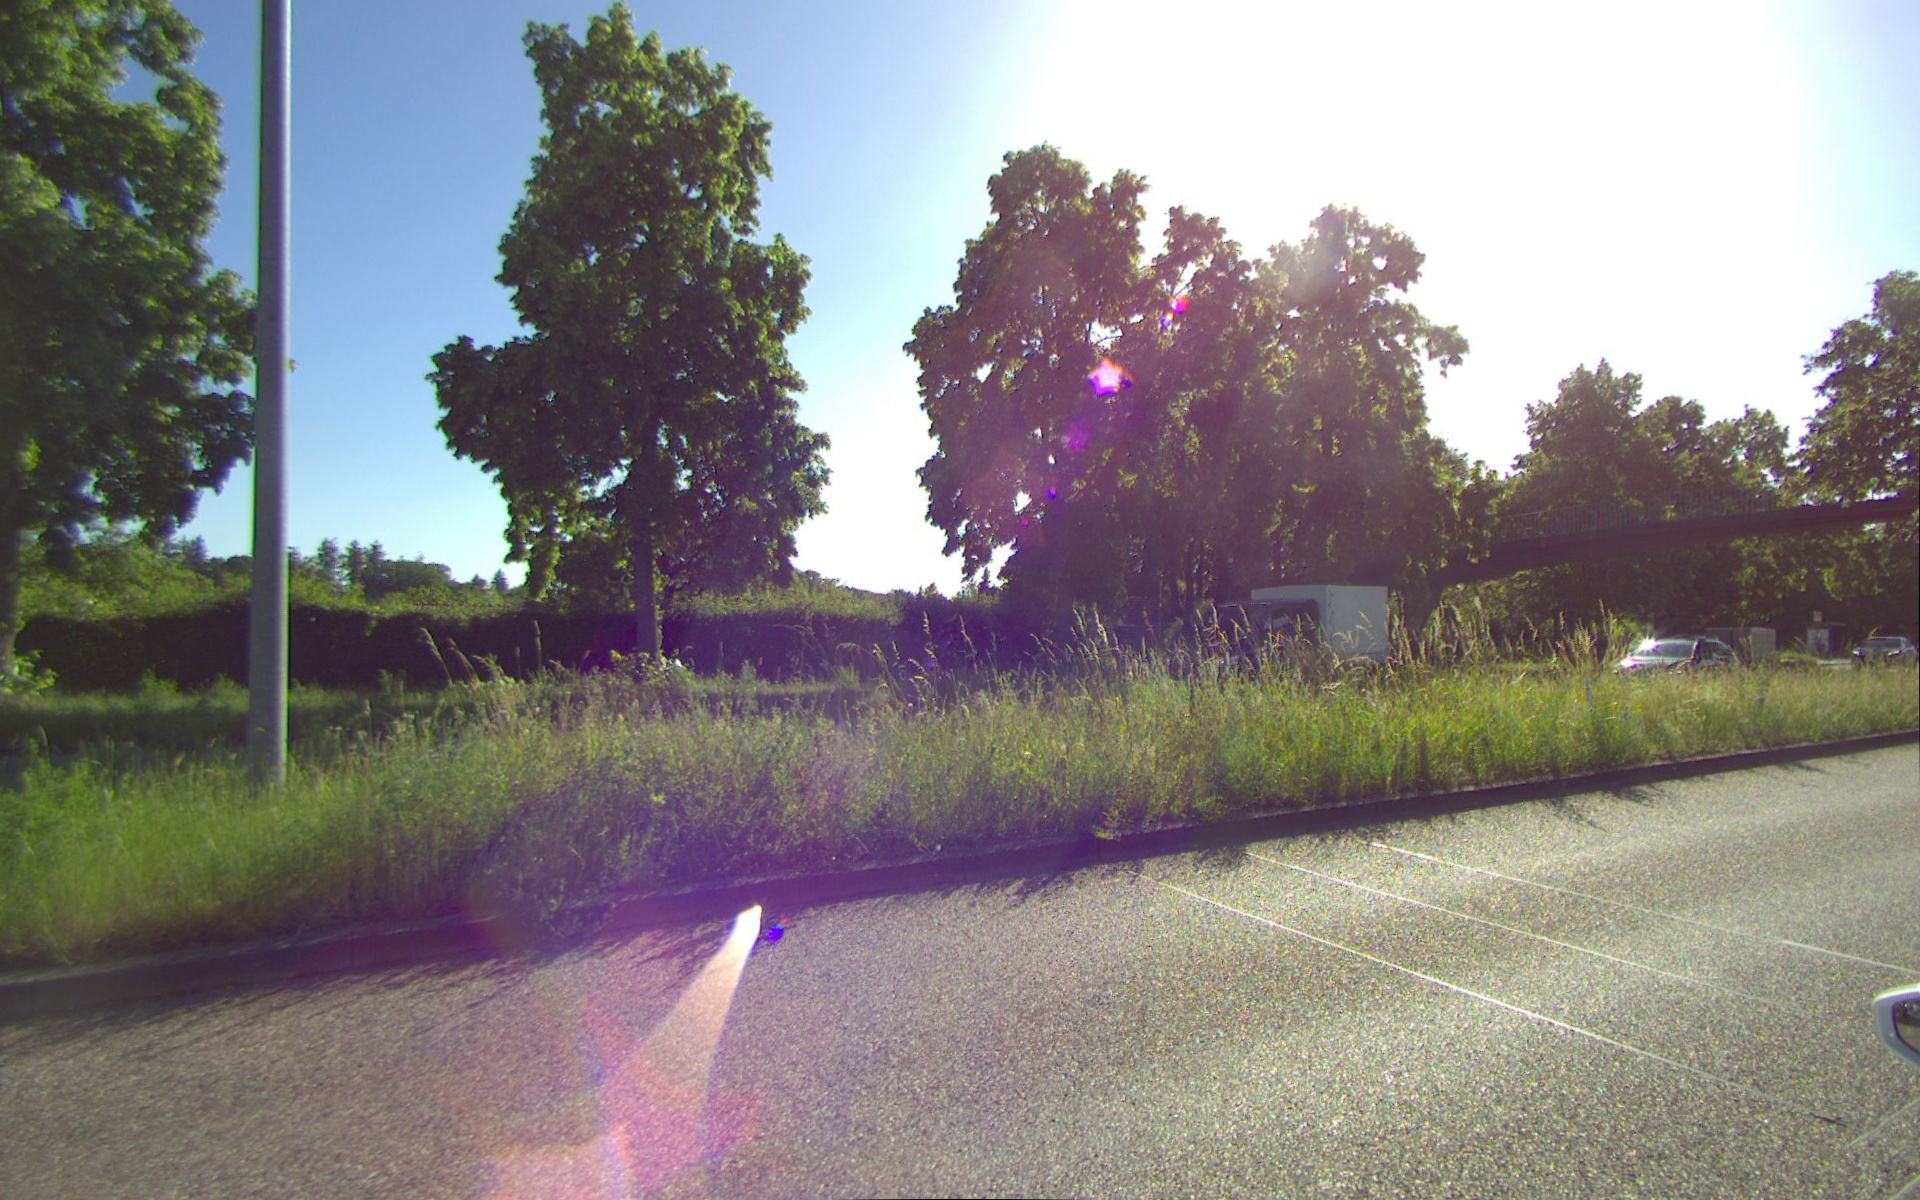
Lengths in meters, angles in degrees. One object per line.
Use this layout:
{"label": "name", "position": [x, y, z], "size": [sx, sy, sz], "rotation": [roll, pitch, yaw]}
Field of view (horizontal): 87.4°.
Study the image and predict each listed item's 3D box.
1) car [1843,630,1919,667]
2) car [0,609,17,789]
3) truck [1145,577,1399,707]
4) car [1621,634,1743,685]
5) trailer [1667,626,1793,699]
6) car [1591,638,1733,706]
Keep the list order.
{"label": "car", "position": [44.424, 2.330, 48.305], "size": [4.850, 1.668, 1.721], "rotation": [2, -4, -34]}
{"label": "car", "position": [-10.758, 0.815, 7.184], "size": [5.510, 1.627, 1.848], "rotation": [1, -3, -31]}
{"label": "truck", "position": [6.951, 0.947, 22.157], "size": [5.678, 2.545, 2.161], "rotation": [1, -4, -32]}
{"label": "car", "position": [24.318, 1.972, 33.814], "size": [4.320, 1.627, 1.846], "rotation": [1, -3, -33]}
{"label": "trailer", "position": [21.988, 1.732, 28.654], "size": [4.237, 1.935, 1.553], "rotation": [1, -2, -33]}
{"label": "car", "position": [18.517, 1.838, 26.446], "size": [3.981, 1.603, 1.686], "rotation": [1, -1, -33]}
